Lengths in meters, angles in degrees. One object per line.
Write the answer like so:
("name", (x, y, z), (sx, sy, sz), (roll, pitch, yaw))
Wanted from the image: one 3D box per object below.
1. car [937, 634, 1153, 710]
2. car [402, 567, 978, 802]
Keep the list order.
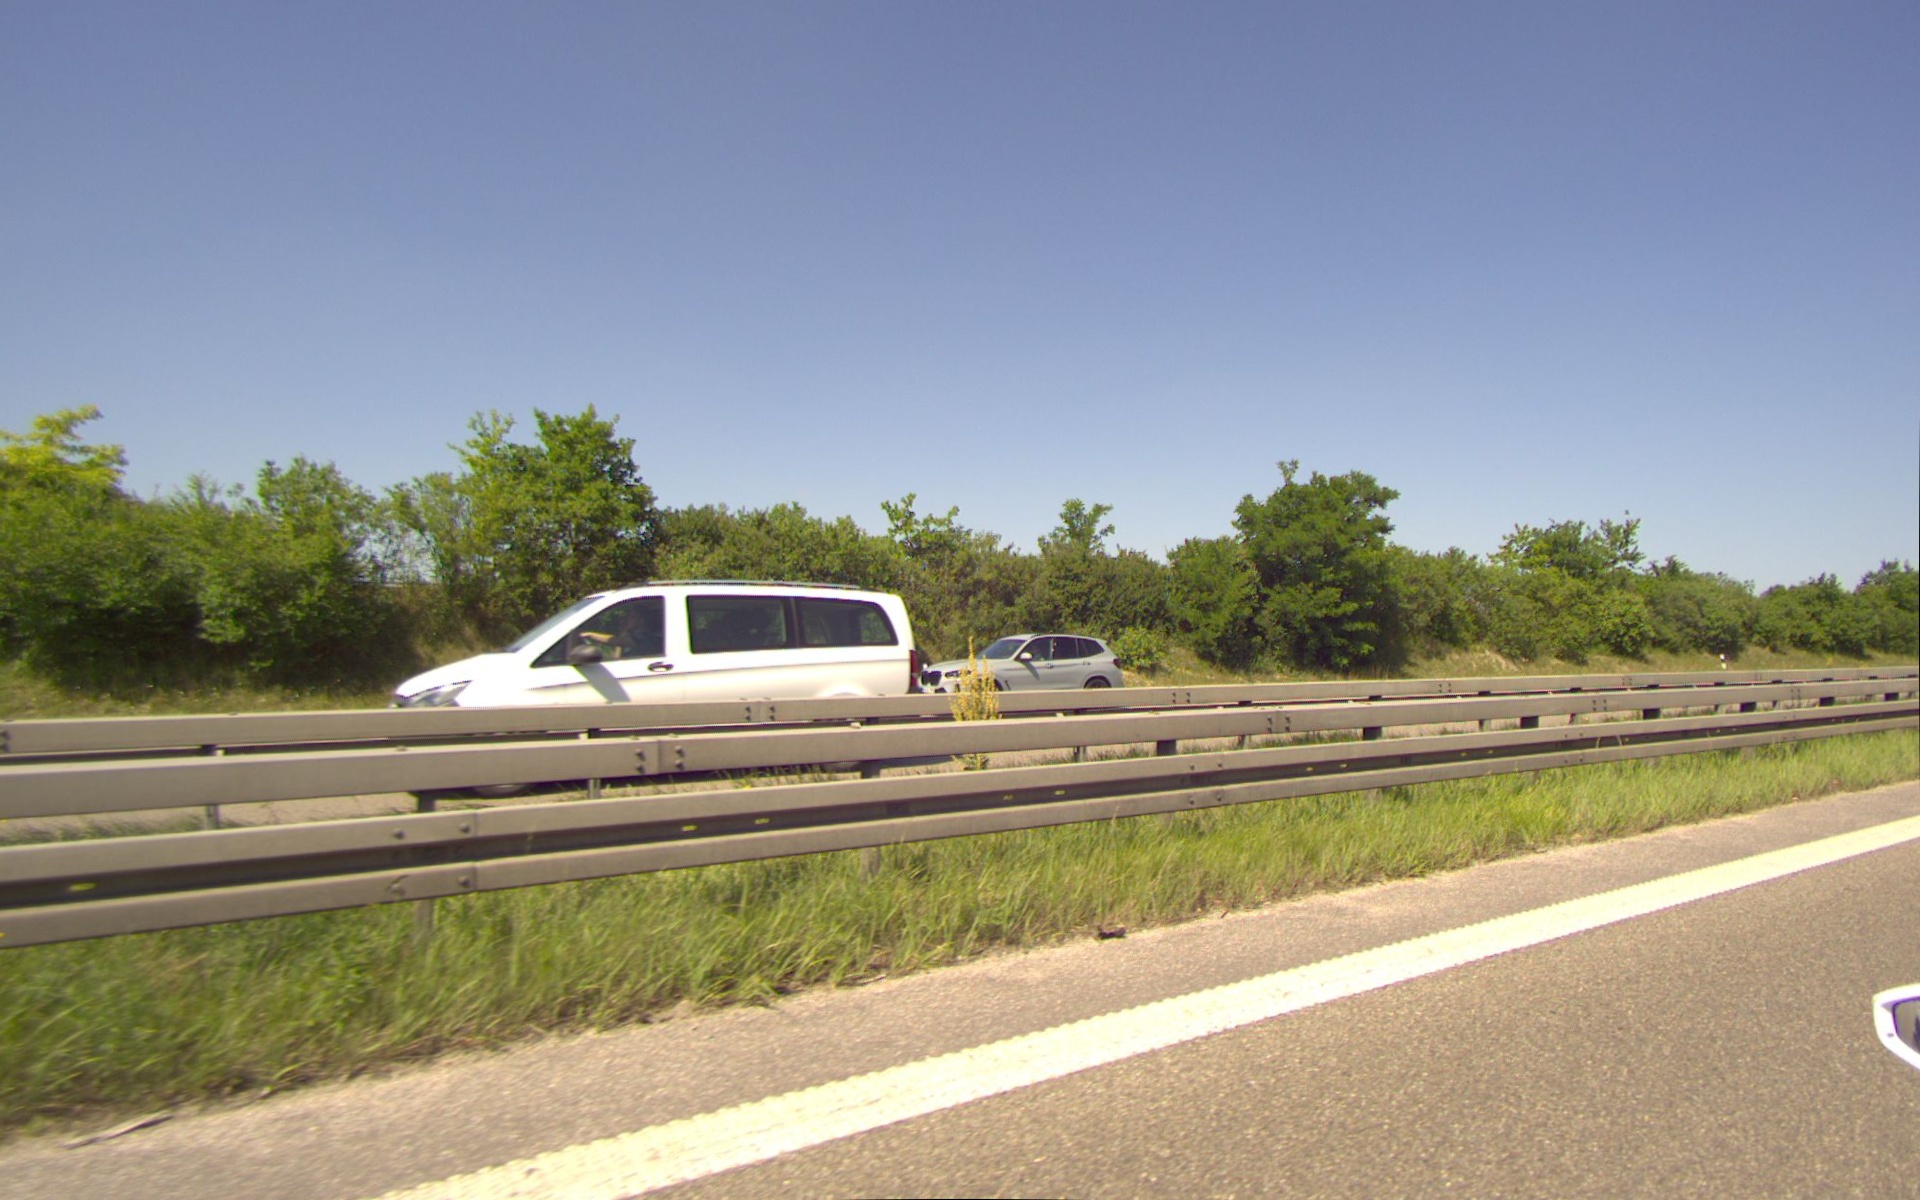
("car", (1.876, 1.500, 21.701), (4.468, 1.458, 1.779), (2, -1, -30))
("car", (-2.621, 0.807, 10.413), (5.455, 1.897, 1.911), (2, -4, -32))
